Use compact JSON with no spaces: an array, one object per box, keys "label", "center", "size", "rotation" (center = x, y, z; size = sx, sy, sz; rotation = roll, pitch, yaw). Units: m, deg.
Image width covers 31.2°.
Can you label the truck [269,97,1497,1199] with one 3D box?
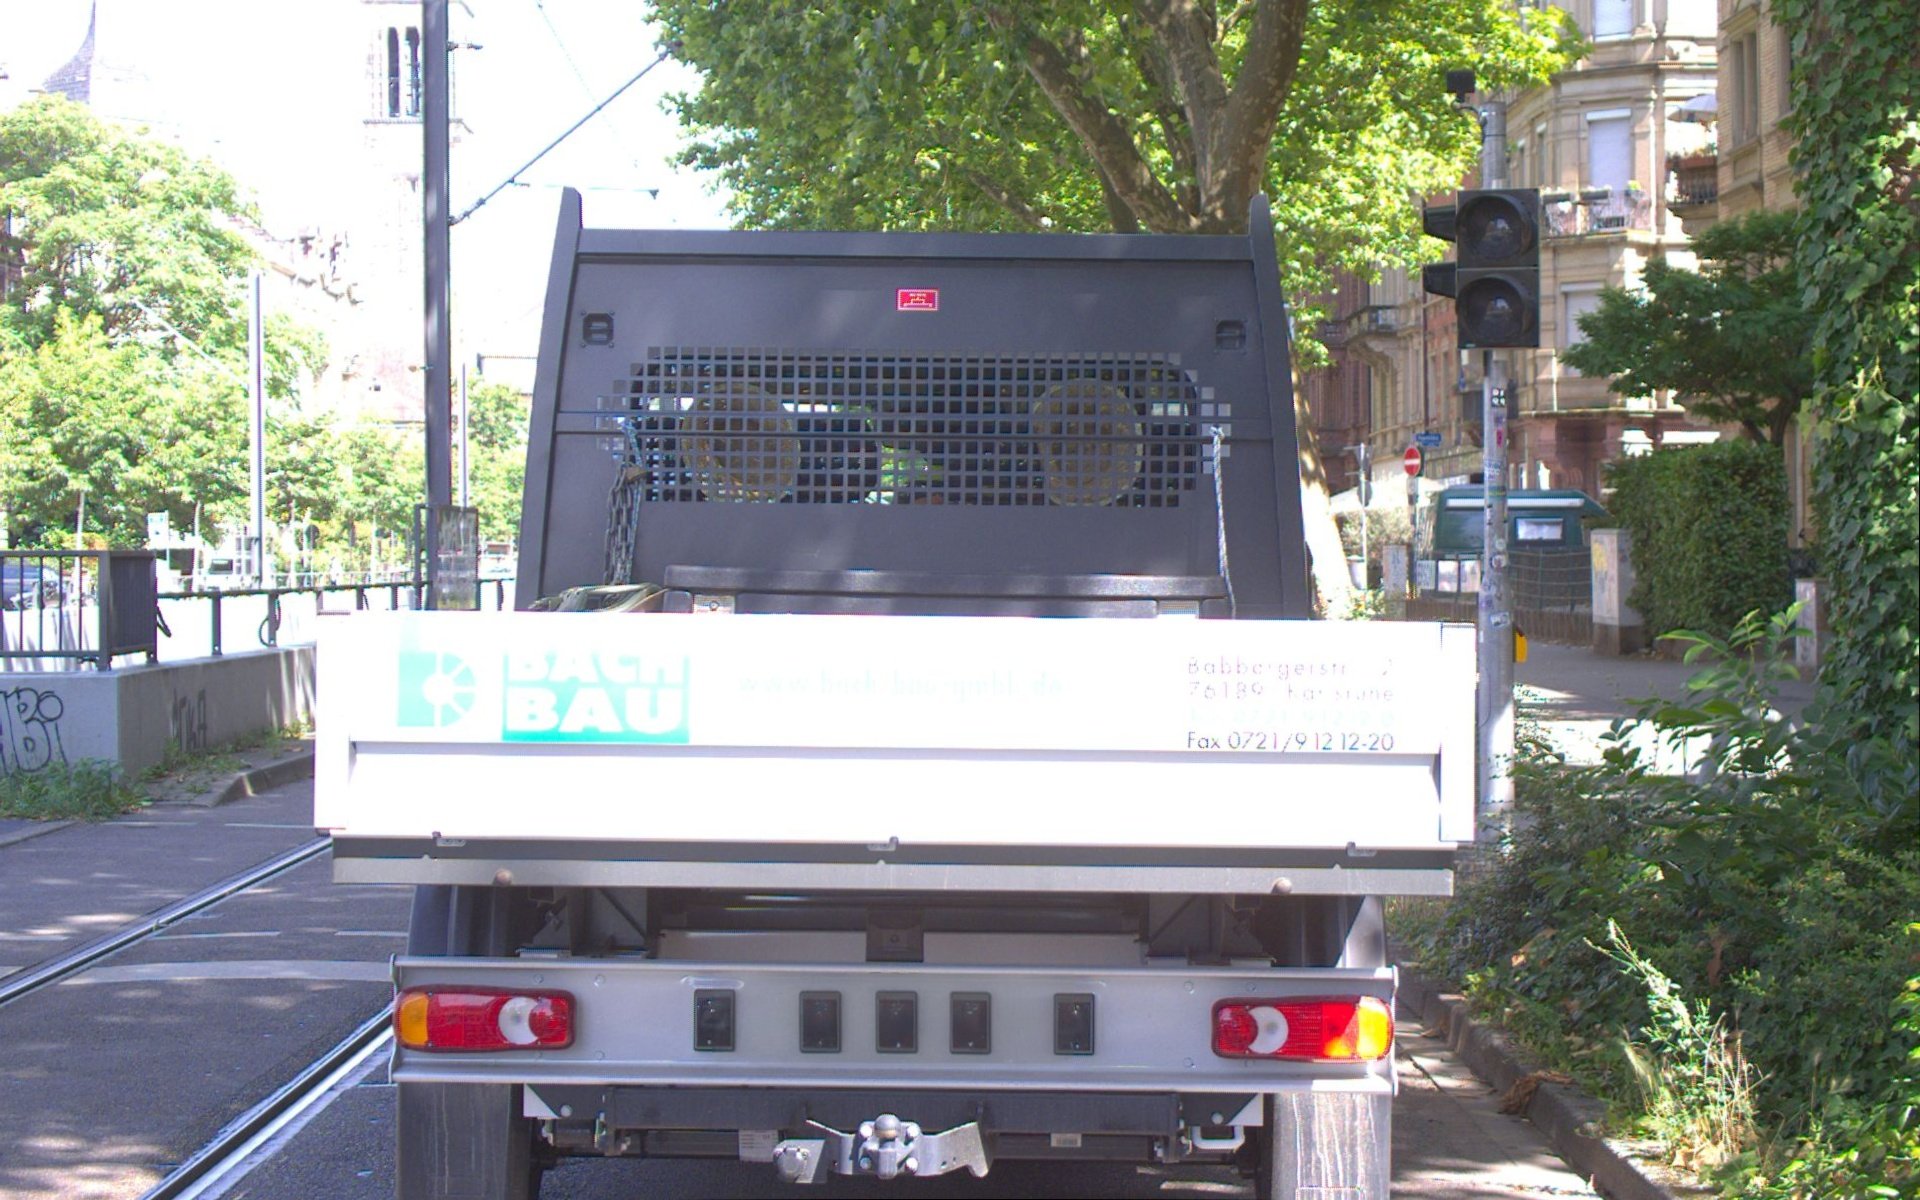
[{"label":"truck","center":[-0.127,0.250,8.211],"size":[2.138,2.311,4.401],"rotation":[0,1,0]}]

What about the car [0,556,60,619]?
[{"label":"car","center":[-23.410,-0.315,84.282],"size":[1.770,1.493,4.000],"rotation":[0,1,-2]}]

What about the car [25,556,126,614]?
[{"label":"car","center":[-23.670,-0.421,92.118],"size":[1.770,1.493,4.000],"rotation":[0,1,-2]}]
